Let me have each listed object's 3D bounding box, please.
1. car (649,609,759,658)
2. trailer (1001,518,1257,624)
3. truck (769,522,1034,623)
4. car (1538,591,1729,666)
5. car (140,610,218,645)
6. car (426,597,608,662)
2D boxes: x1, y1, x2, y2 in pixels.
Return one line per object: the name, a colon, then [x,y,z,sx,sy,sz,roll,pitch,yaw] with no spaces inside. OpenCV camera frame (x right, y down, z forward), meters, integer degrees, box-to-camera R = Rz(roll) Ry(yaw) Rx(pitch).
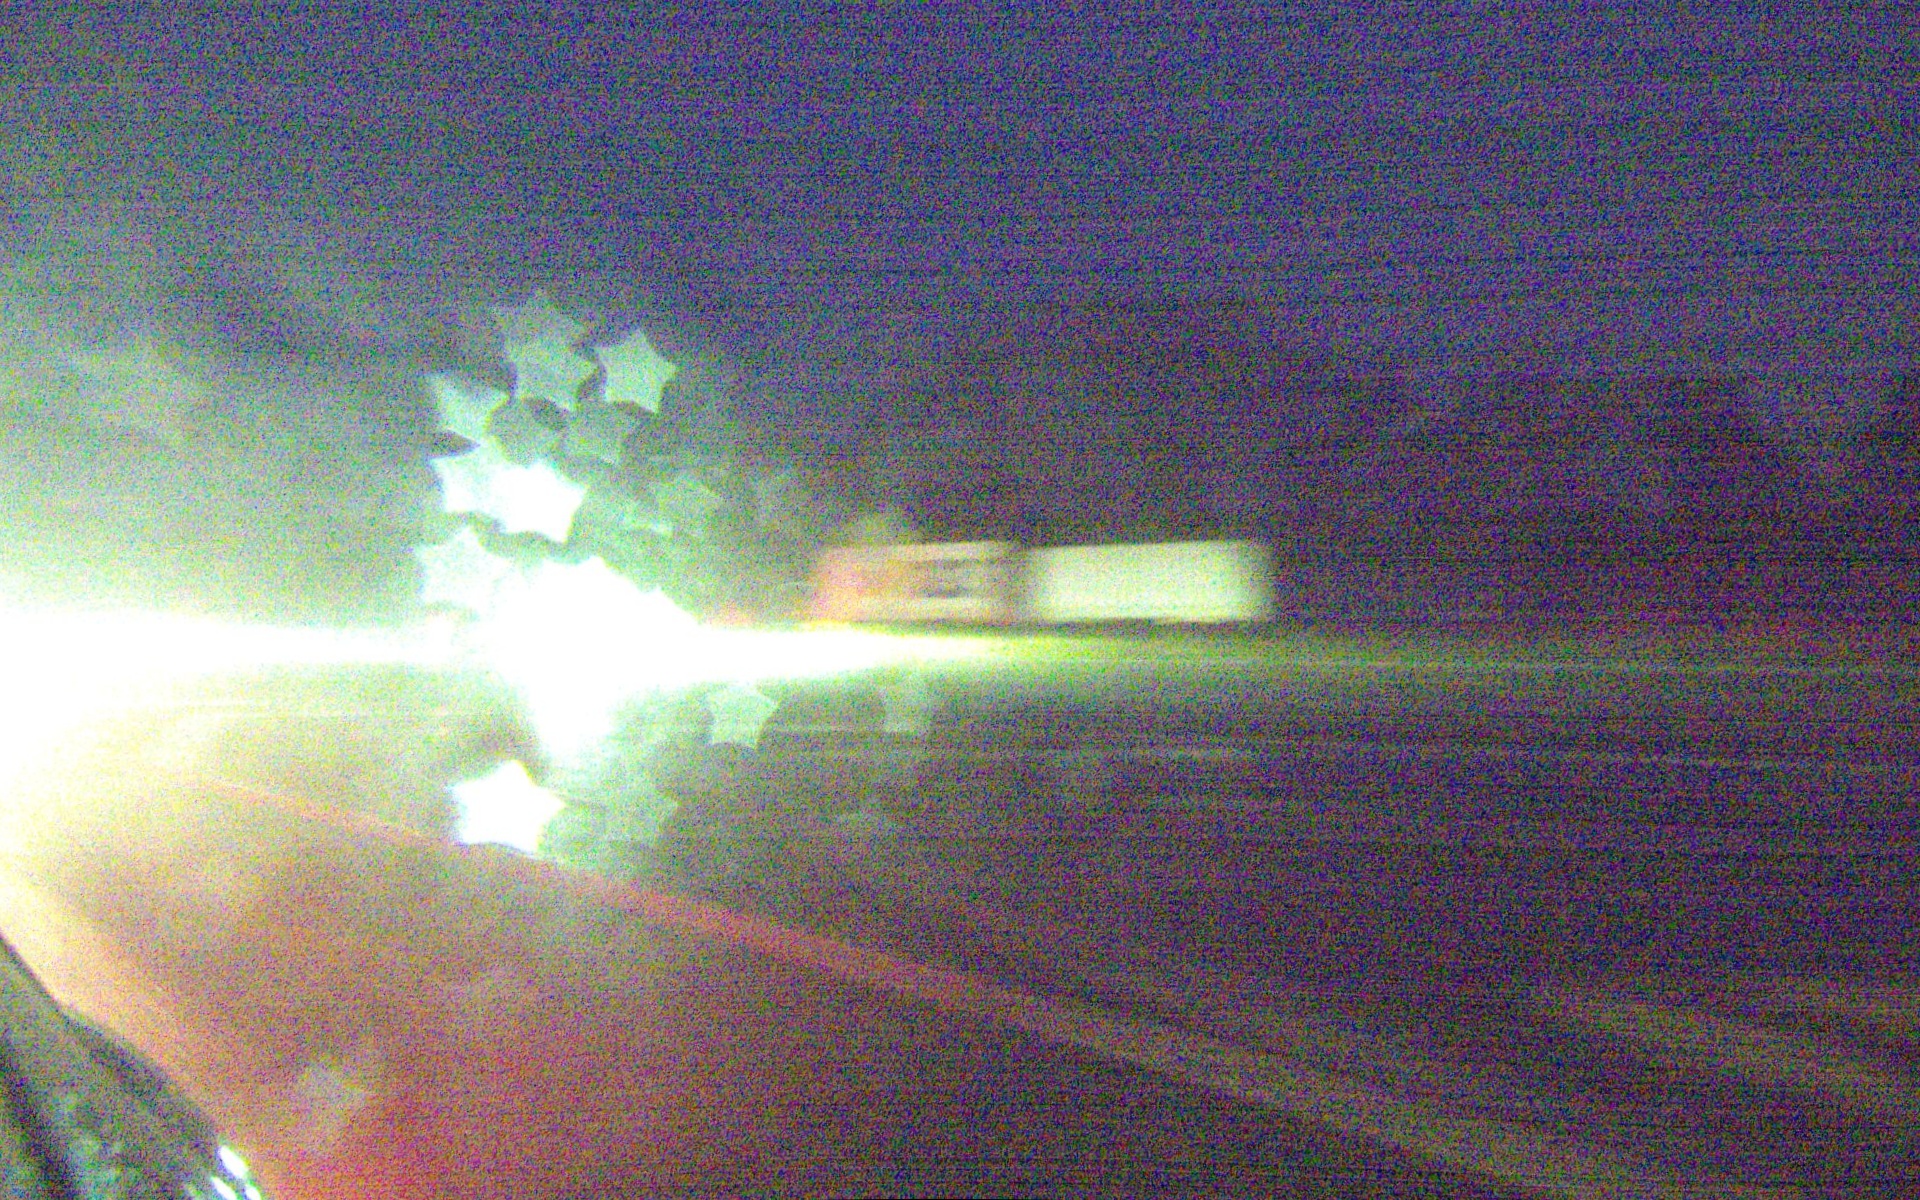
car: [-10.274,1.326,40.639,3.978,1.821,1.893,-1,1,26]
trailer: [6.112,-0.965,37.076,8.837,3.536,2.612,-1,1,25]
truck: [-2.528,-1.011,41.144,10.801,3.721,2.612,-1,1,25]
car: [17.799,0.721,26.984,3.978,1.821,1.893,-1,1,26]
car: [-43.935,1.544,56.927,3.978,1.821,1.893,-1,1,26]
car: [-11.906,0.745,27.168,4.563,1.572,1.983,-1,1,26]
